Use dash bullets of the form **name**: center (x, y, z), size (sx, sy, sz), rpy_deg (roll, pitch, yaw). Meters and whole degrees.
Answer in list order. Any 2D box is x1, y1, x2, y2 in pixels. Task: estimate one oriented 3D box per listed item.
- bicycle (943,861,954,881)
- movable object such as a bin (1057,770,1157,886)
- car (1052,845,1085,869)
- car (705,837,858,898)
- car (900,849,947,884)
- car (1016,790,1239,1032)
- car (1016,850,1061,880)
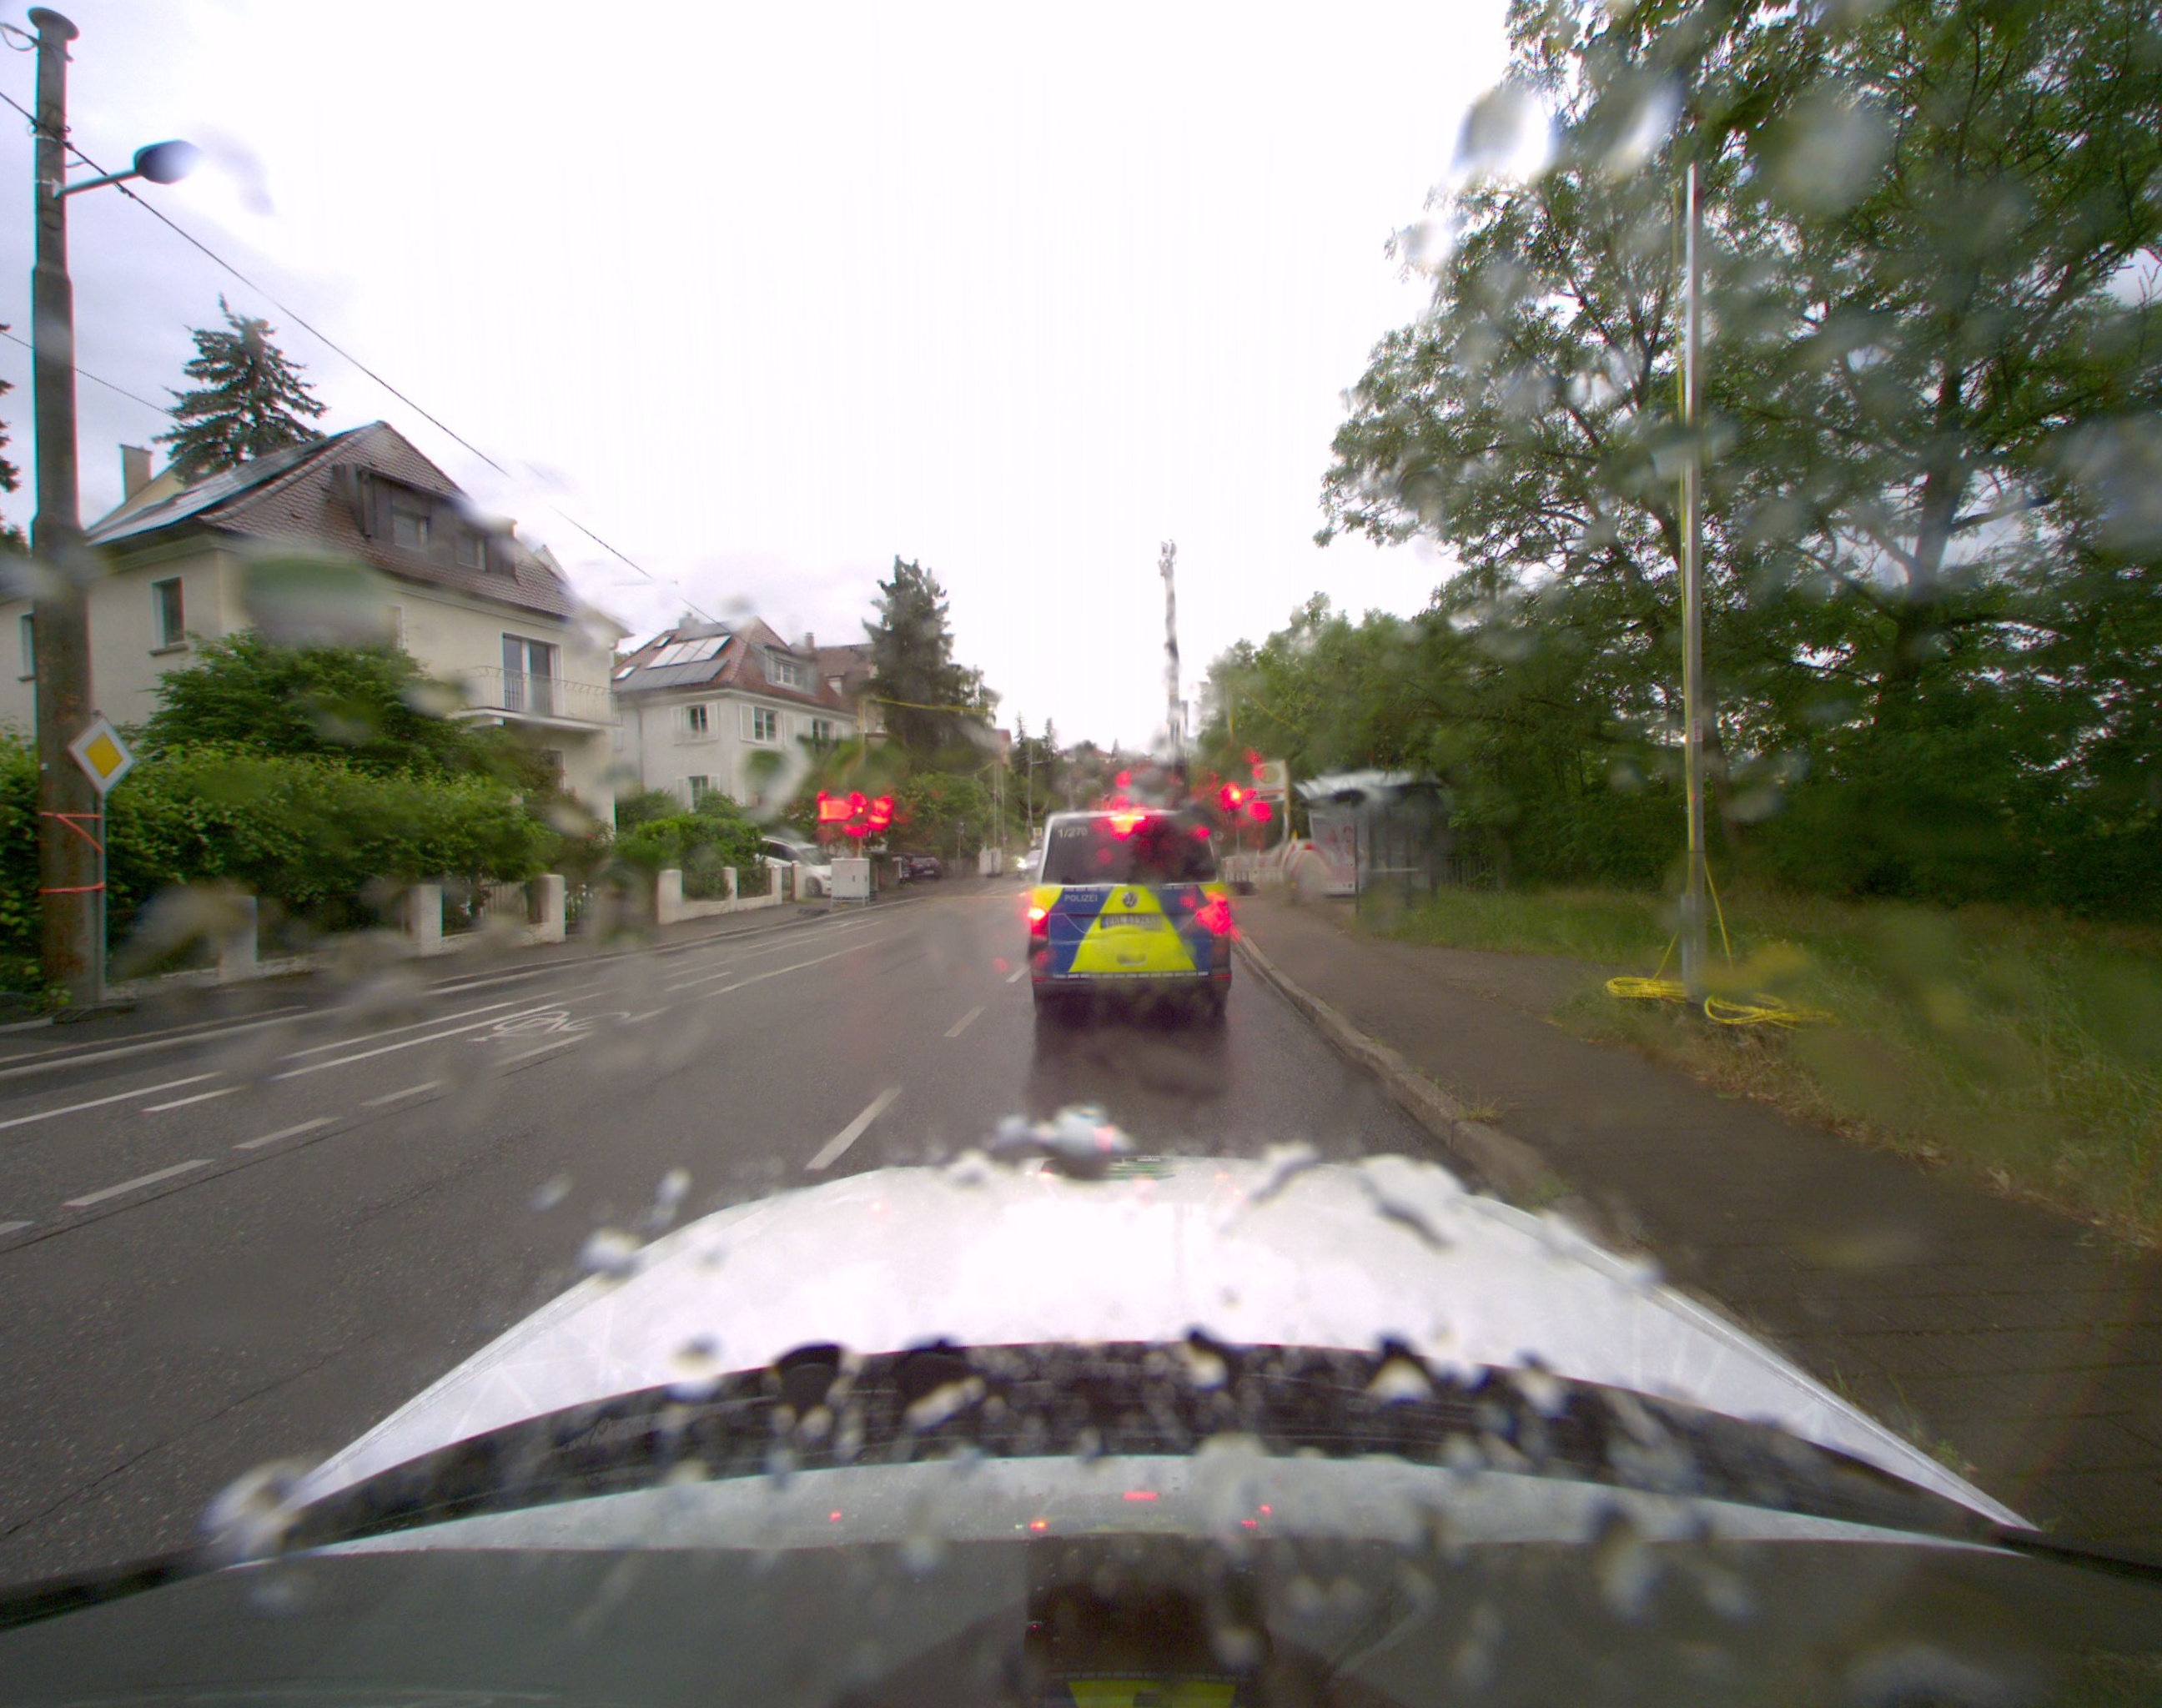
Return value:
- **bicycle**: center (-6.499, 0.826, 39.891), size (0.463, 0.897, 1.627), rpy_deg (-1, 0, -12)
- **movable object such as a bin**: center (1.107, -0.931, 31.774), size (2.809, 4.177, 4.400), rpy_deg (0, 0, 17)
- **car**: center (-0.816, 0.229, 57.838), size (1.857, 1.621, 4.171), rpy_deg (-1, 0, 5)
- **car**: center (-10.279, 0.458, 28.059), size (4.599, 2.007, 1.907), rpy_deg (0, 0, 13)
- **car**: center (-7.454, 0.556, 38.301), size (1.770, 1.486, 3.720), rpy_deg (0, 1, -17)
- **car**: center (0.462, 0.482, 8.943), size (1.886, 2.050, 4.002), rpy_deg (0, 0, 2)
- **car**: center (-2.260, 0.590, 44.721), size (1.844, 1.527, 4.825), rpy_deg (0, 0, 4)
